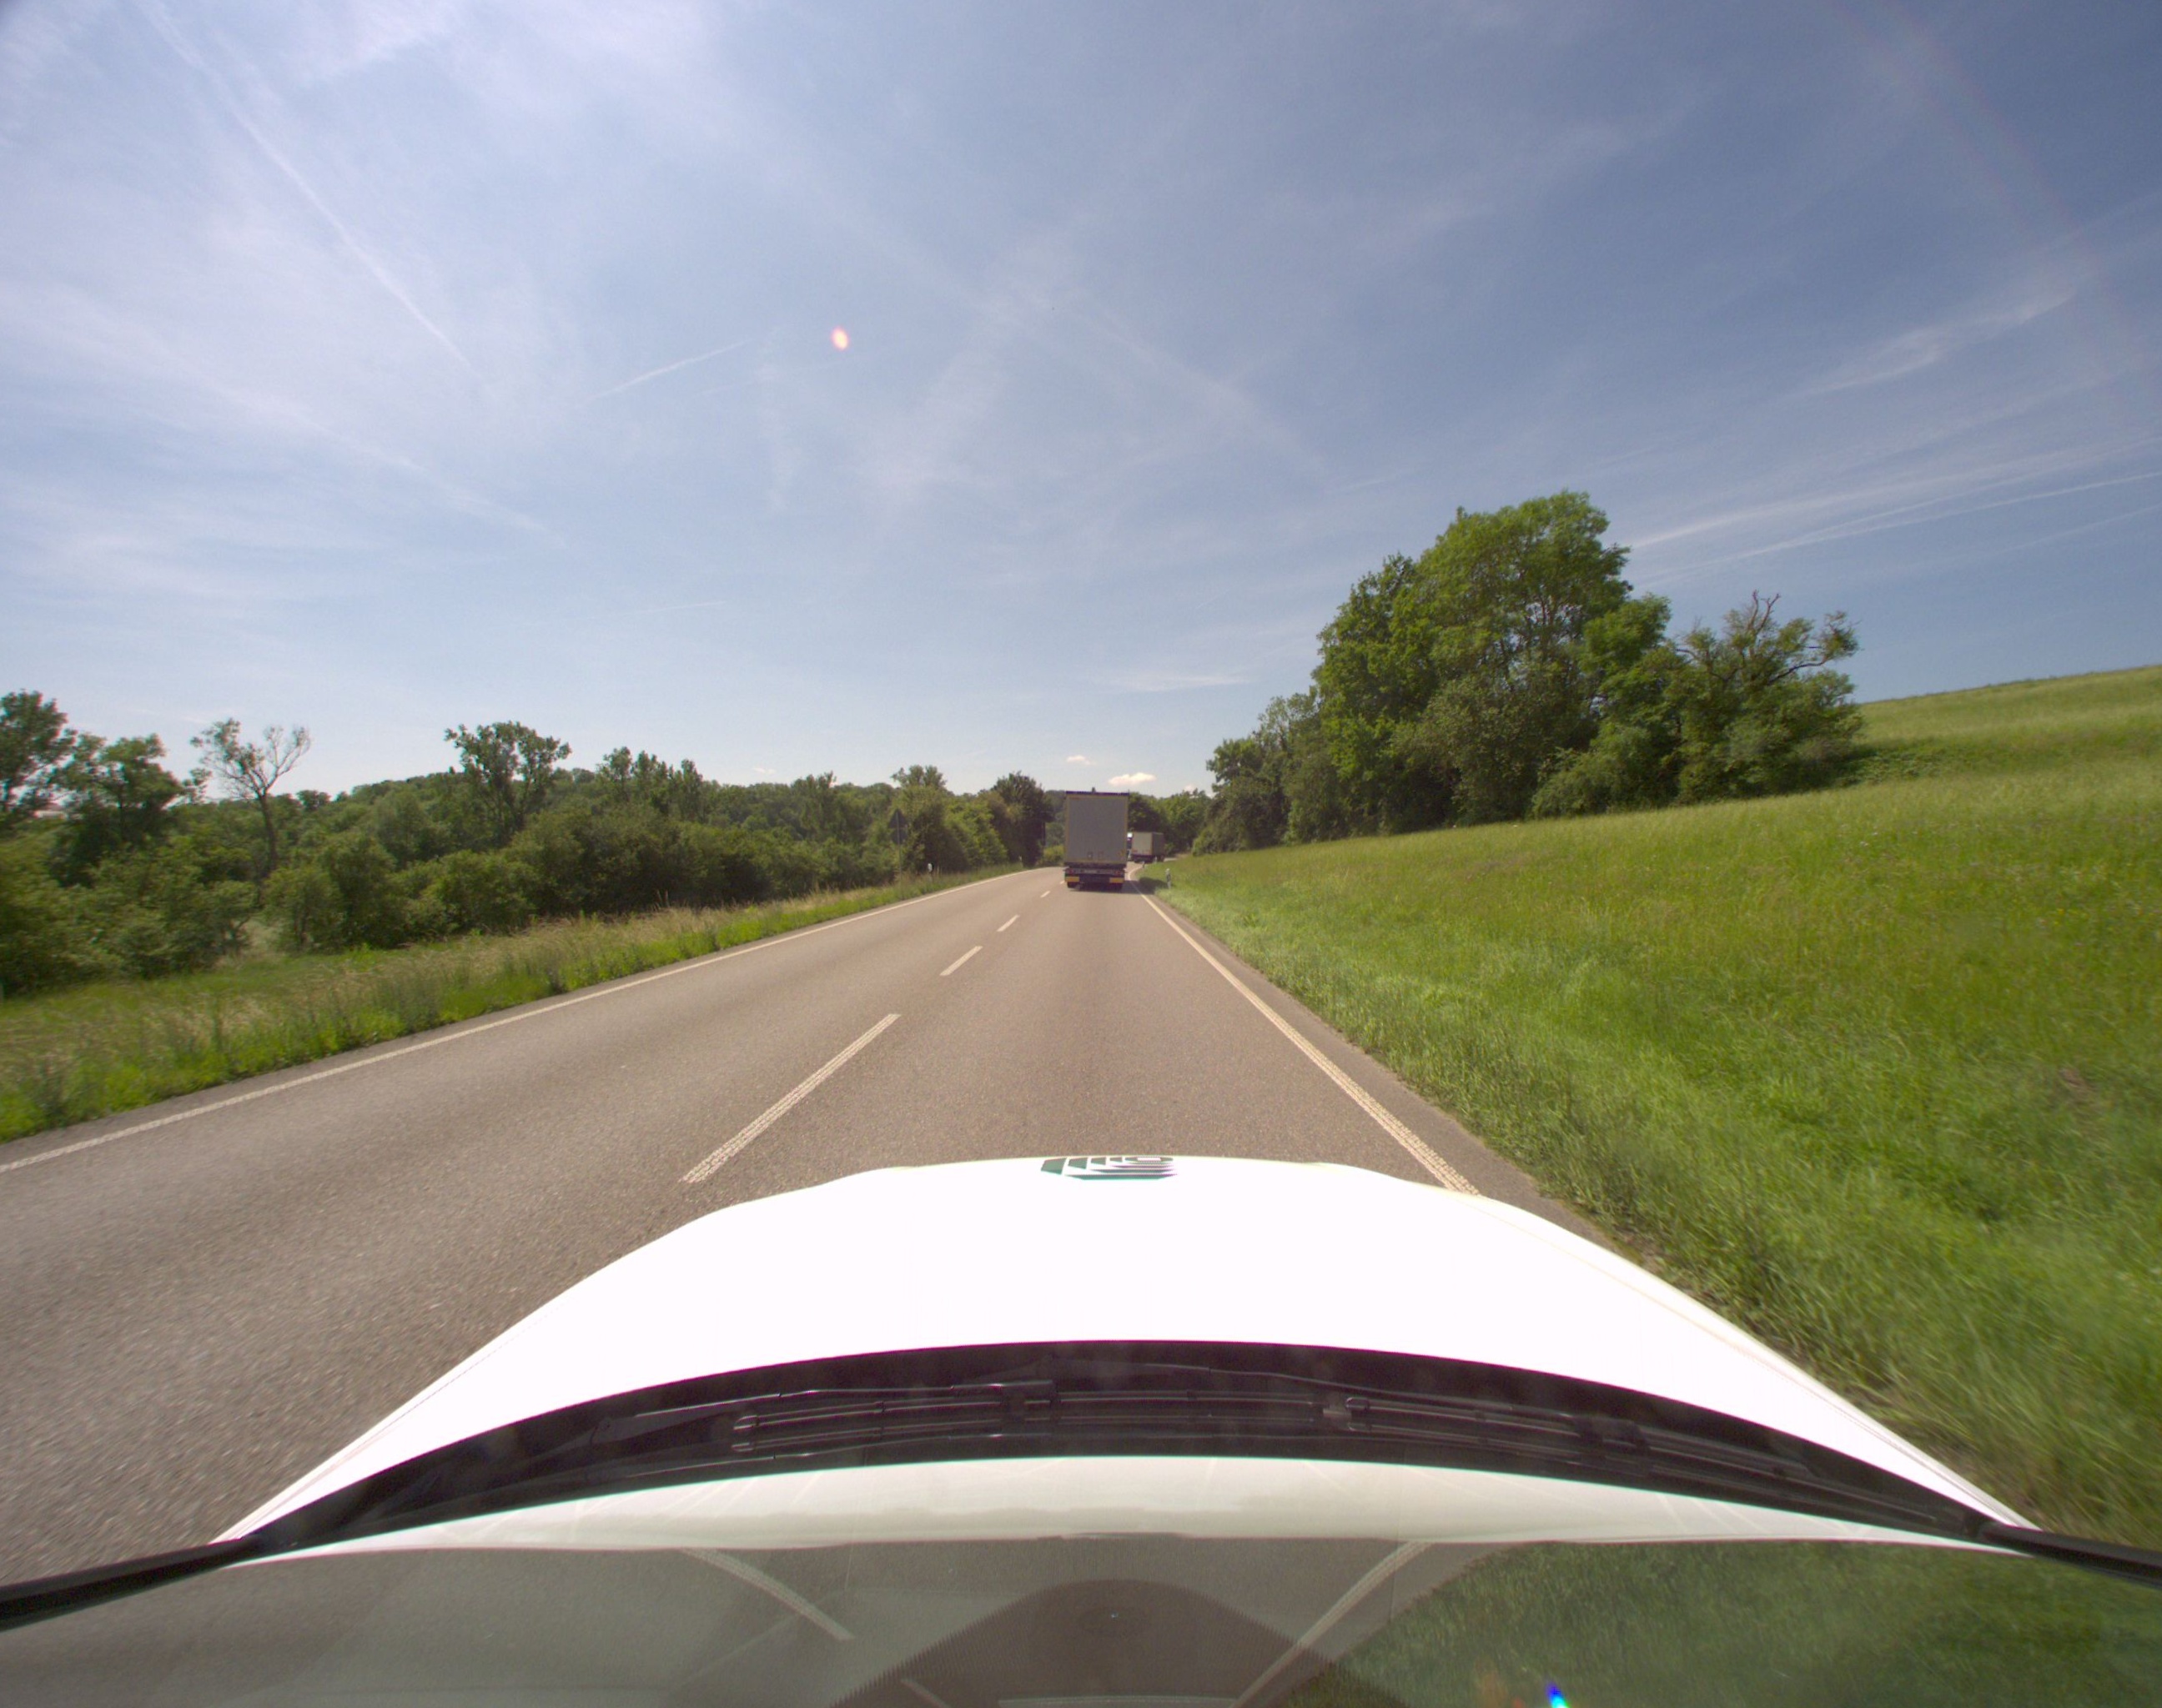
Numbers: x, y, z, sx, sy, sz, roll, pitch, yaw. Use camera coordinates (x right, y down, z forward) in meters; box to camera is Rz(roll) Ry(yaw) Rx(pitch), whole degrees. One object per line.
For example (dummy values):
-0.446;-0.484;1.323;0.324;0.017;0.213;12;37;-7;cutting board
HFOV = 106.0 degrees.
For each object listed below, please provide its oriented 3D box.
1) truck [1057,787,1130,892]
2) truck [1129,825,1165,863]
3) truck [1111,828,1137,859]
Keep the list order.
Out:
0.707;-0.582;39.712;2.791;4.068;15.330;1;0;2;truck
9.025;-1.297;109.001;3.086;4.705;16.636;2;1;10;truck
6.121;-1.398;115.365;2.542;4.115;5.819;3;0;13;truck
